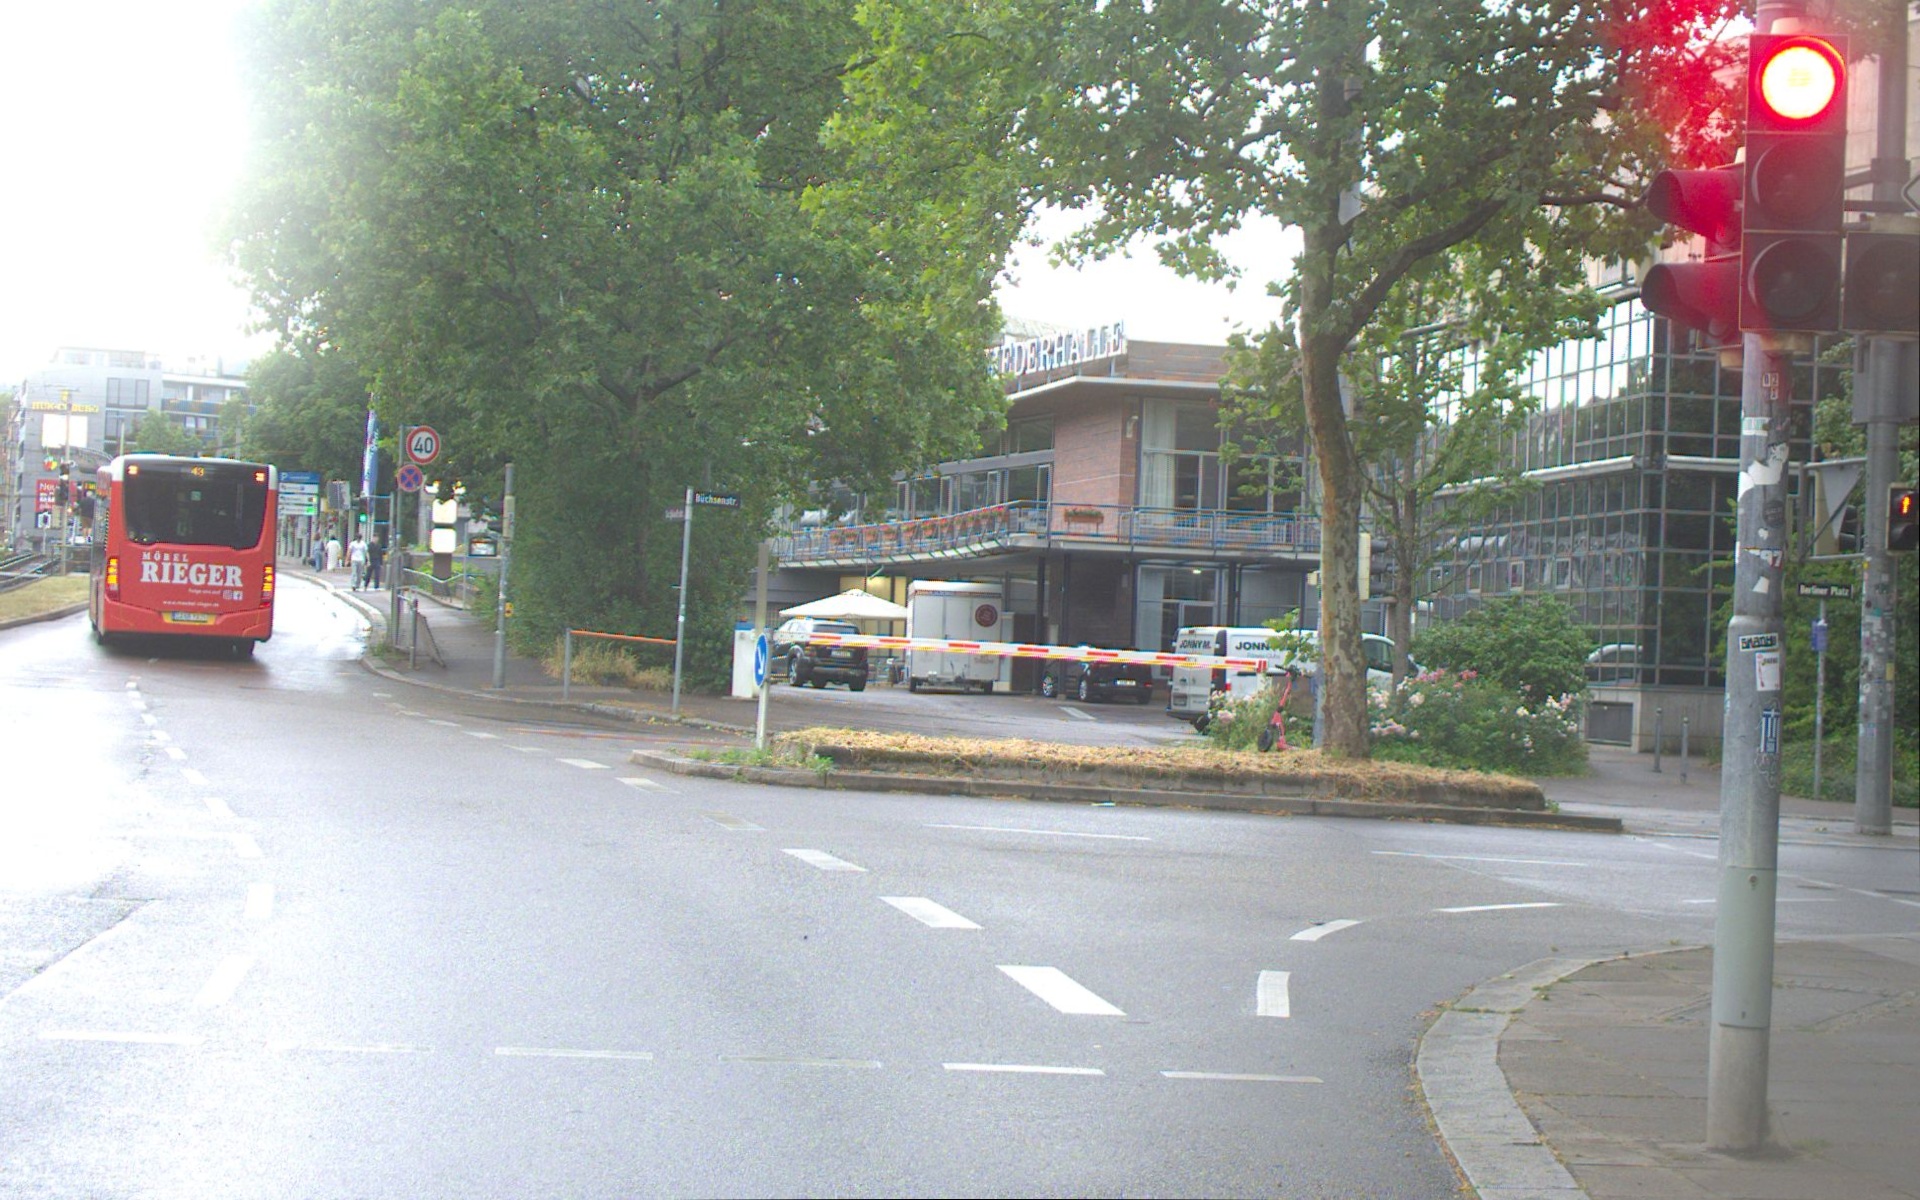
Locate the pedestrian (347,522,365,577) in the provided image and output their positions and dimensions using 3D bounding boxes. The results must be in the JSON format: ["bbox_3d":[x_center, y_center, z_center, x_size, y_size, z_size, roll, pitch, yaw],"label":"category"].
[{"bbox_3d":[-18.880,-1.577,107.511,0.371,1.702,0.644,3,0,-1],"label":"pedestrian"}]

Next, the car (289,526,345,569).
[{"bbox_3d":[-27.447,-2.228,146.605,1.993,1.678,4.001,4,-1,-14],"label":"car"}]

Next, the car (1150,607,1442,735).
[{"bbox_3d":[6.063,1.281,62.042,4.745,1.937,2.001,4,-1,-22],"label":"car"}]

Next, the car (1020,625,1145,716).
[{"bbox_3d":[2.982,1.703,84.454,1.993,2.007,4.001,4,-1,-13],"label":"car"}]

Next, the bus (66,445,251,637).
[{"bbox_3d":[-14.865,-1.058,63.294,2.549,3.100,9.458,4,-1,-16],"label":"bus"}]

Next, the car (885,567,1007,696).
[{"bbox_3d":[-0.410,0.822,90.514,2.544,3.123,5.031,4,-1,-6],"label":"car"}]

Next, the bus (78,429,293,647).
[{"bbox_3d":[-12.791,-0.971,56.197,2.654,3.100,9.188,4,-1,-16],"label":"bus"}]

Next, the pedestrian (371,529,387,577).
[{"bbox_3d":[-18.296,-1.479,108.291,0.371,1.520,0.344,3,0,-1],"label":"pedestrian"}]

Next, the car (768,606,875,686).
[{"bbox_3d":[-3.562,1.155,87.935,1.993,1.853,4.001,4,-1,-12],"label":"car"}]

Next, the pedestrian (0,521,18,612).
[{"bbox_3d":[-17.521,-0.625,62.265,0.737,1.634,0.871,4,-1,-12],"label":"pedestrian"}]
